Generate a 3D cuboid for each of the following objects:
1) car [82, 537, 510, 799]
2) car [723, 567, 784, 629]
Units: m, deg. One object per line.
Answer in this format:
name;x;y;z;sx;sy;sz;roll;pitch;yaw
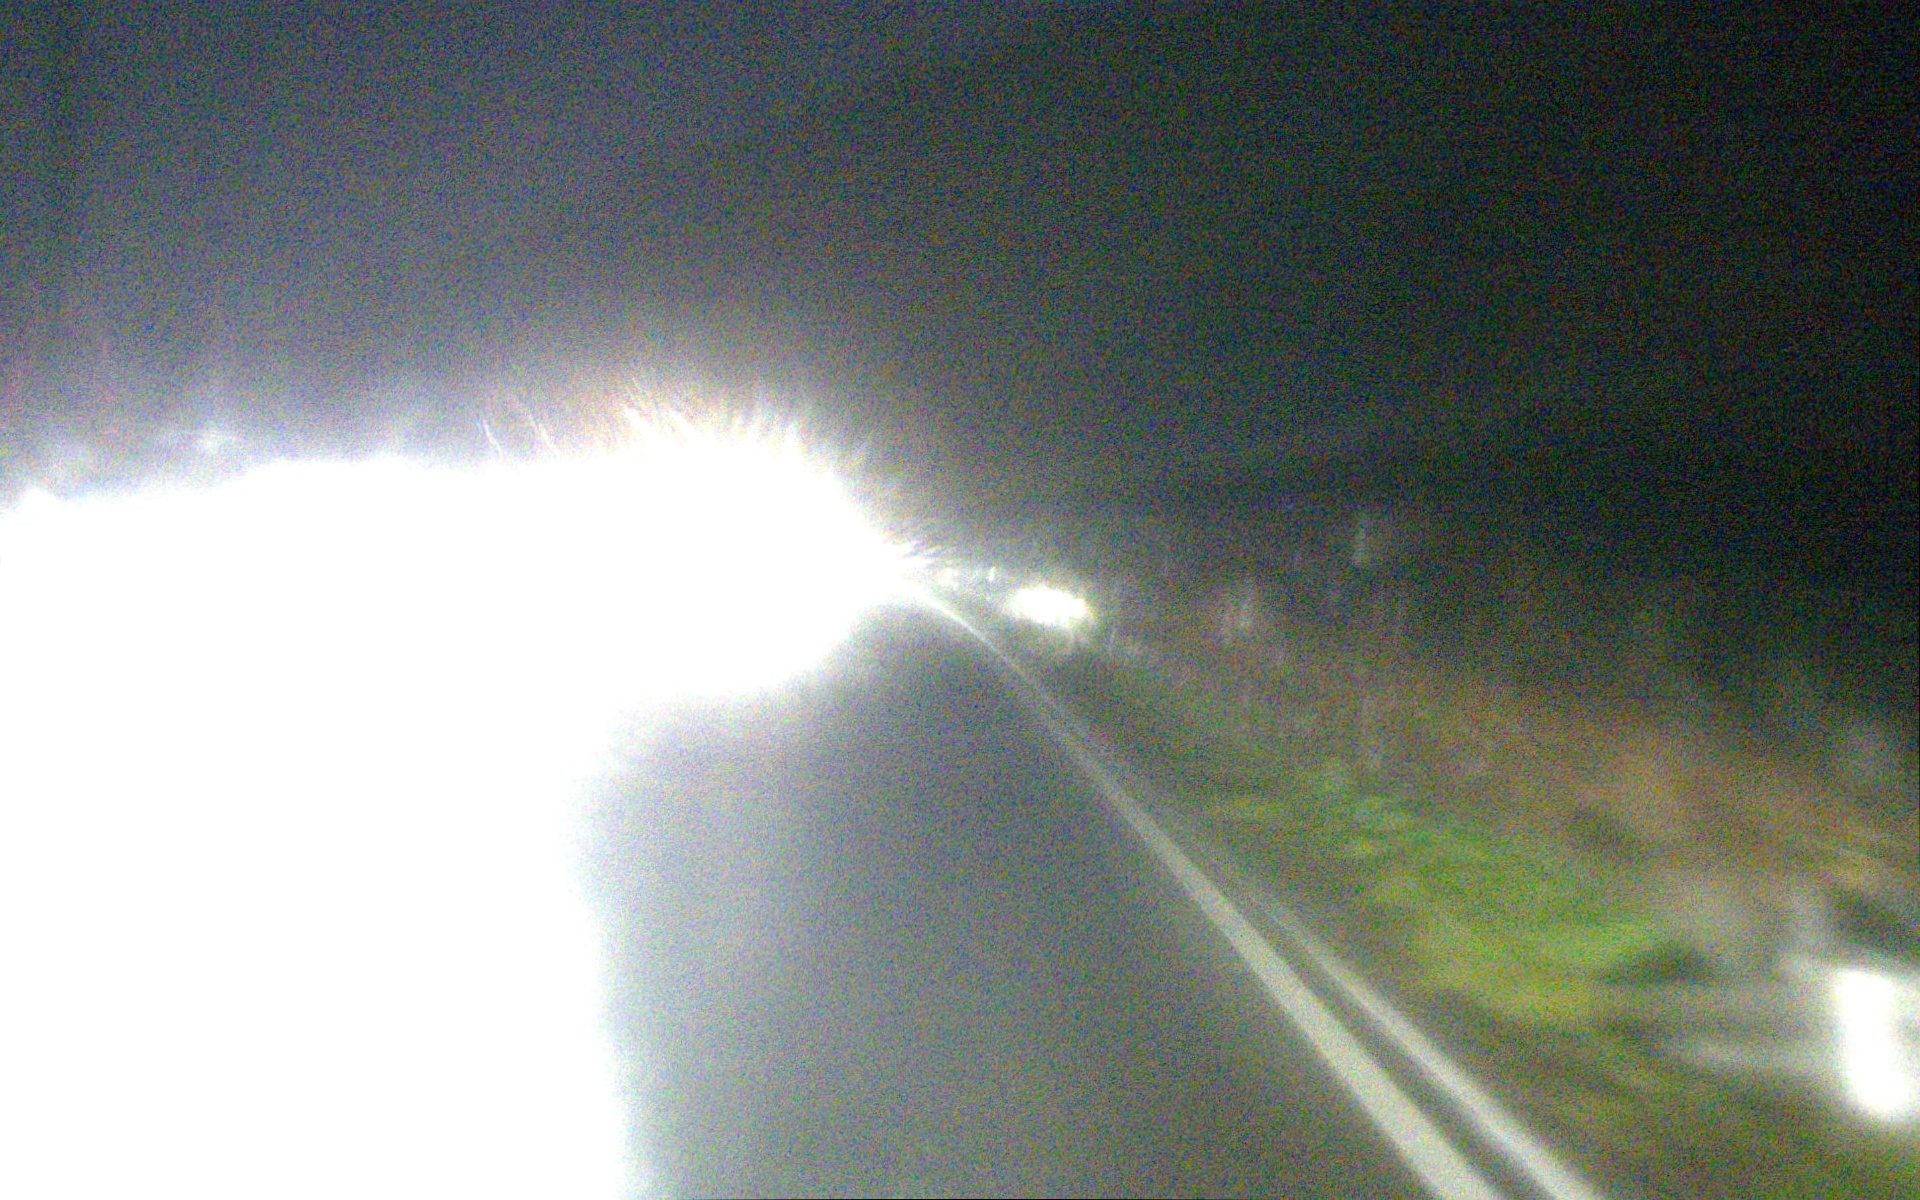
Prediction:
car;-4.000;0.341;21.424;1.868;1.443;4.393;1;1;-1
car;-7.369;-0.050;122.835;1.993;2.007;4.000;4;-1;-3
